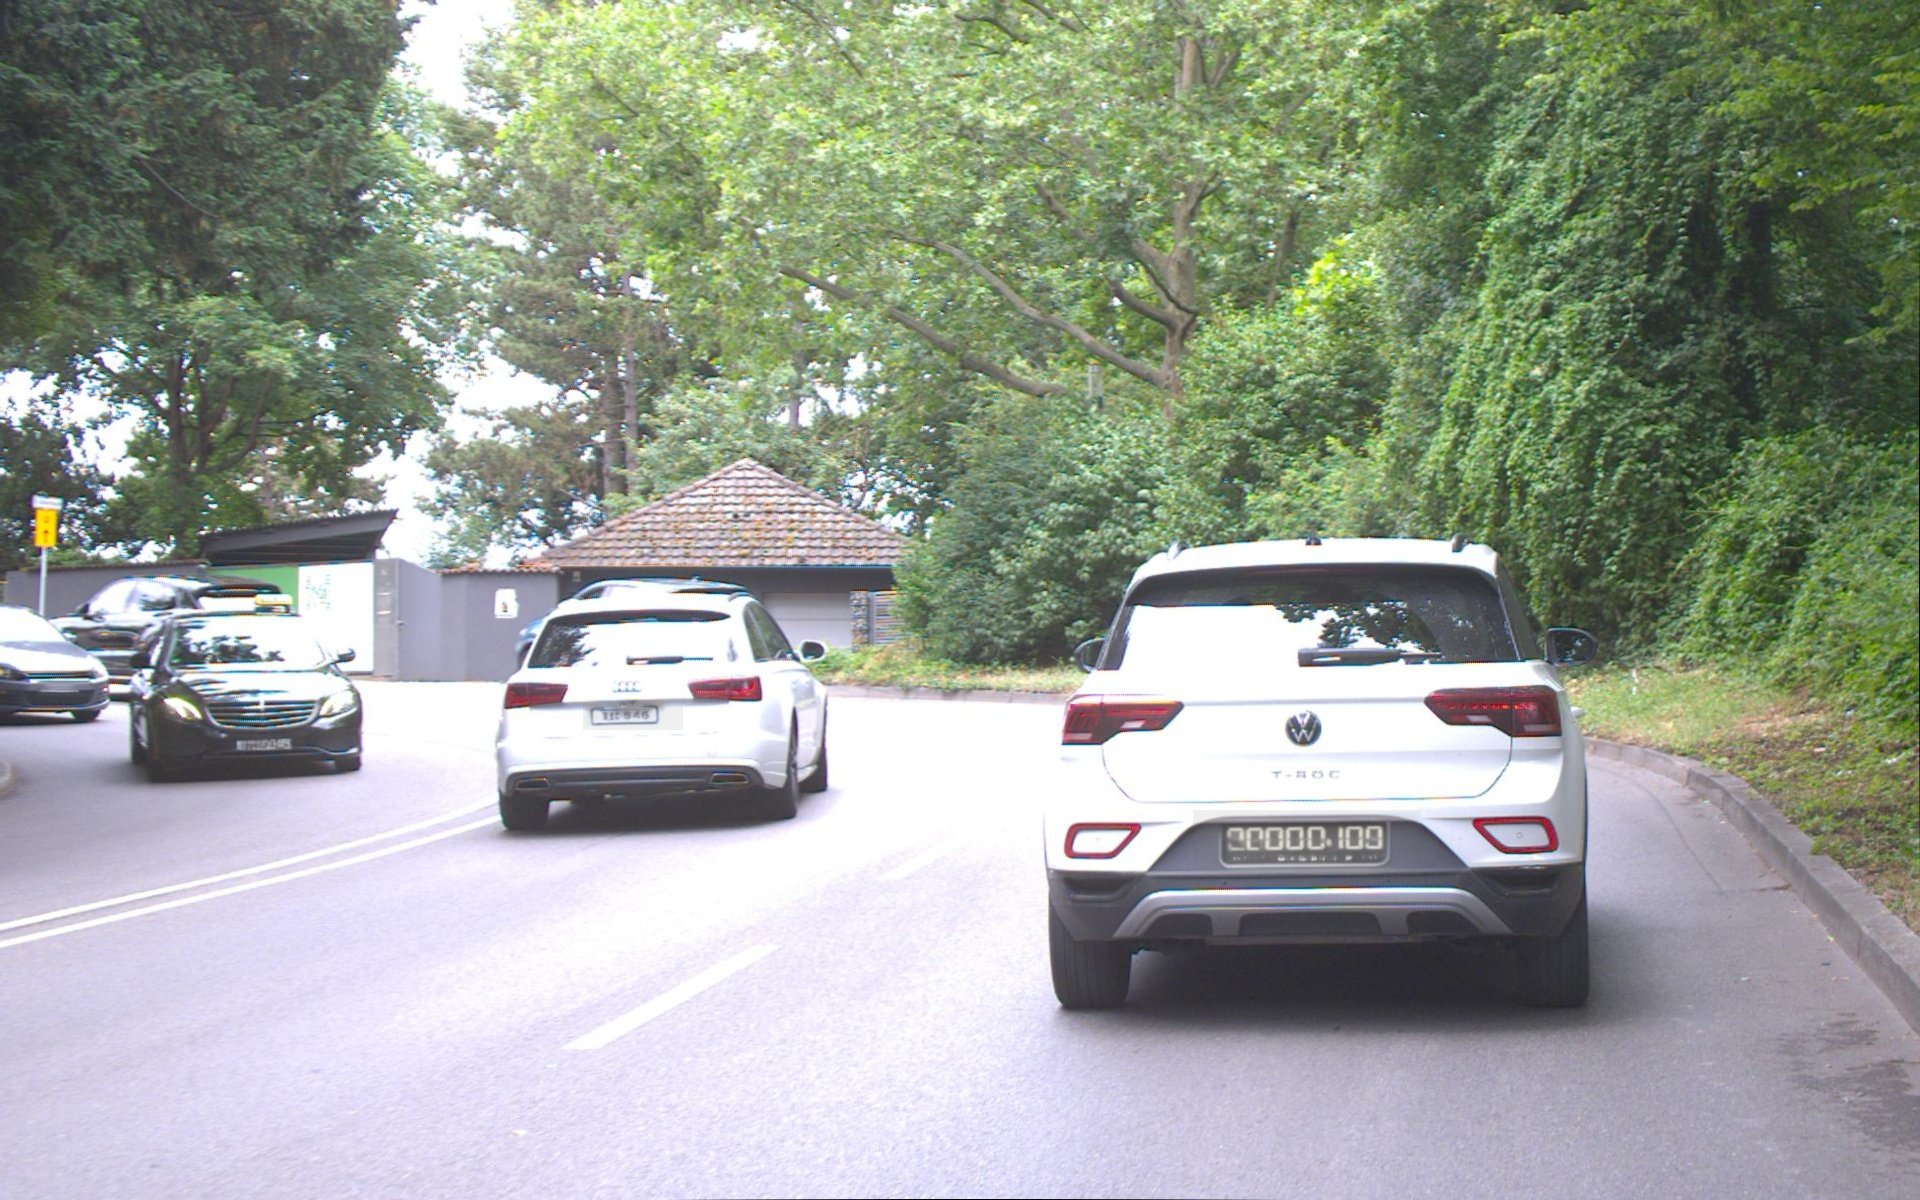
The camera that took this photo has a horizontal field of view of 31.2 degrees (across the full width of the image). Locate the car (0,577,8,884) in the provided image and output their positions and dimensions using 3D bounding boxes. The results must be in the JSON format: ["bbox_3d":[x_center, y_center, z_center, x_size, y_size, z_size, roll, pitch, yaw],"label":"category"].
[{"bbox_3d":[-6.434,0.697,16.483,1.850,1.643,4.509,0,0,10],"label":"car"}]

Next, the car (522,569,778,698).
[{"bbox_3d":[-3.969,0.427,43.462,1.669,1.496,4.023,-2,0,-29],"label":"car"}]

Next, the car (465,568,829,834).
[{"bbox_3d":[-1.963,0.619,22.940,1.865,1.529,4.776,-2,0,1],"label":"car"}]

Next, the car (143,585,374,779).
[{"bbox_3d":[-6.514,0.720,31.582,1.861,1.592,4.631,-2,0,-14],"label":"car"}]

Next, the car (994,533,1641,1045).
[{"bbox_3d":[1.498,0.549,12.691,1.755,1.547,4.335,0,1,14],"label":"car"}]

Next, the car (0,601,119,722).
[{"bbox_3d":[-11.487,0.743,41.169,1.771,1.335,3.960,-2,0,-28],"label":"car"}]
